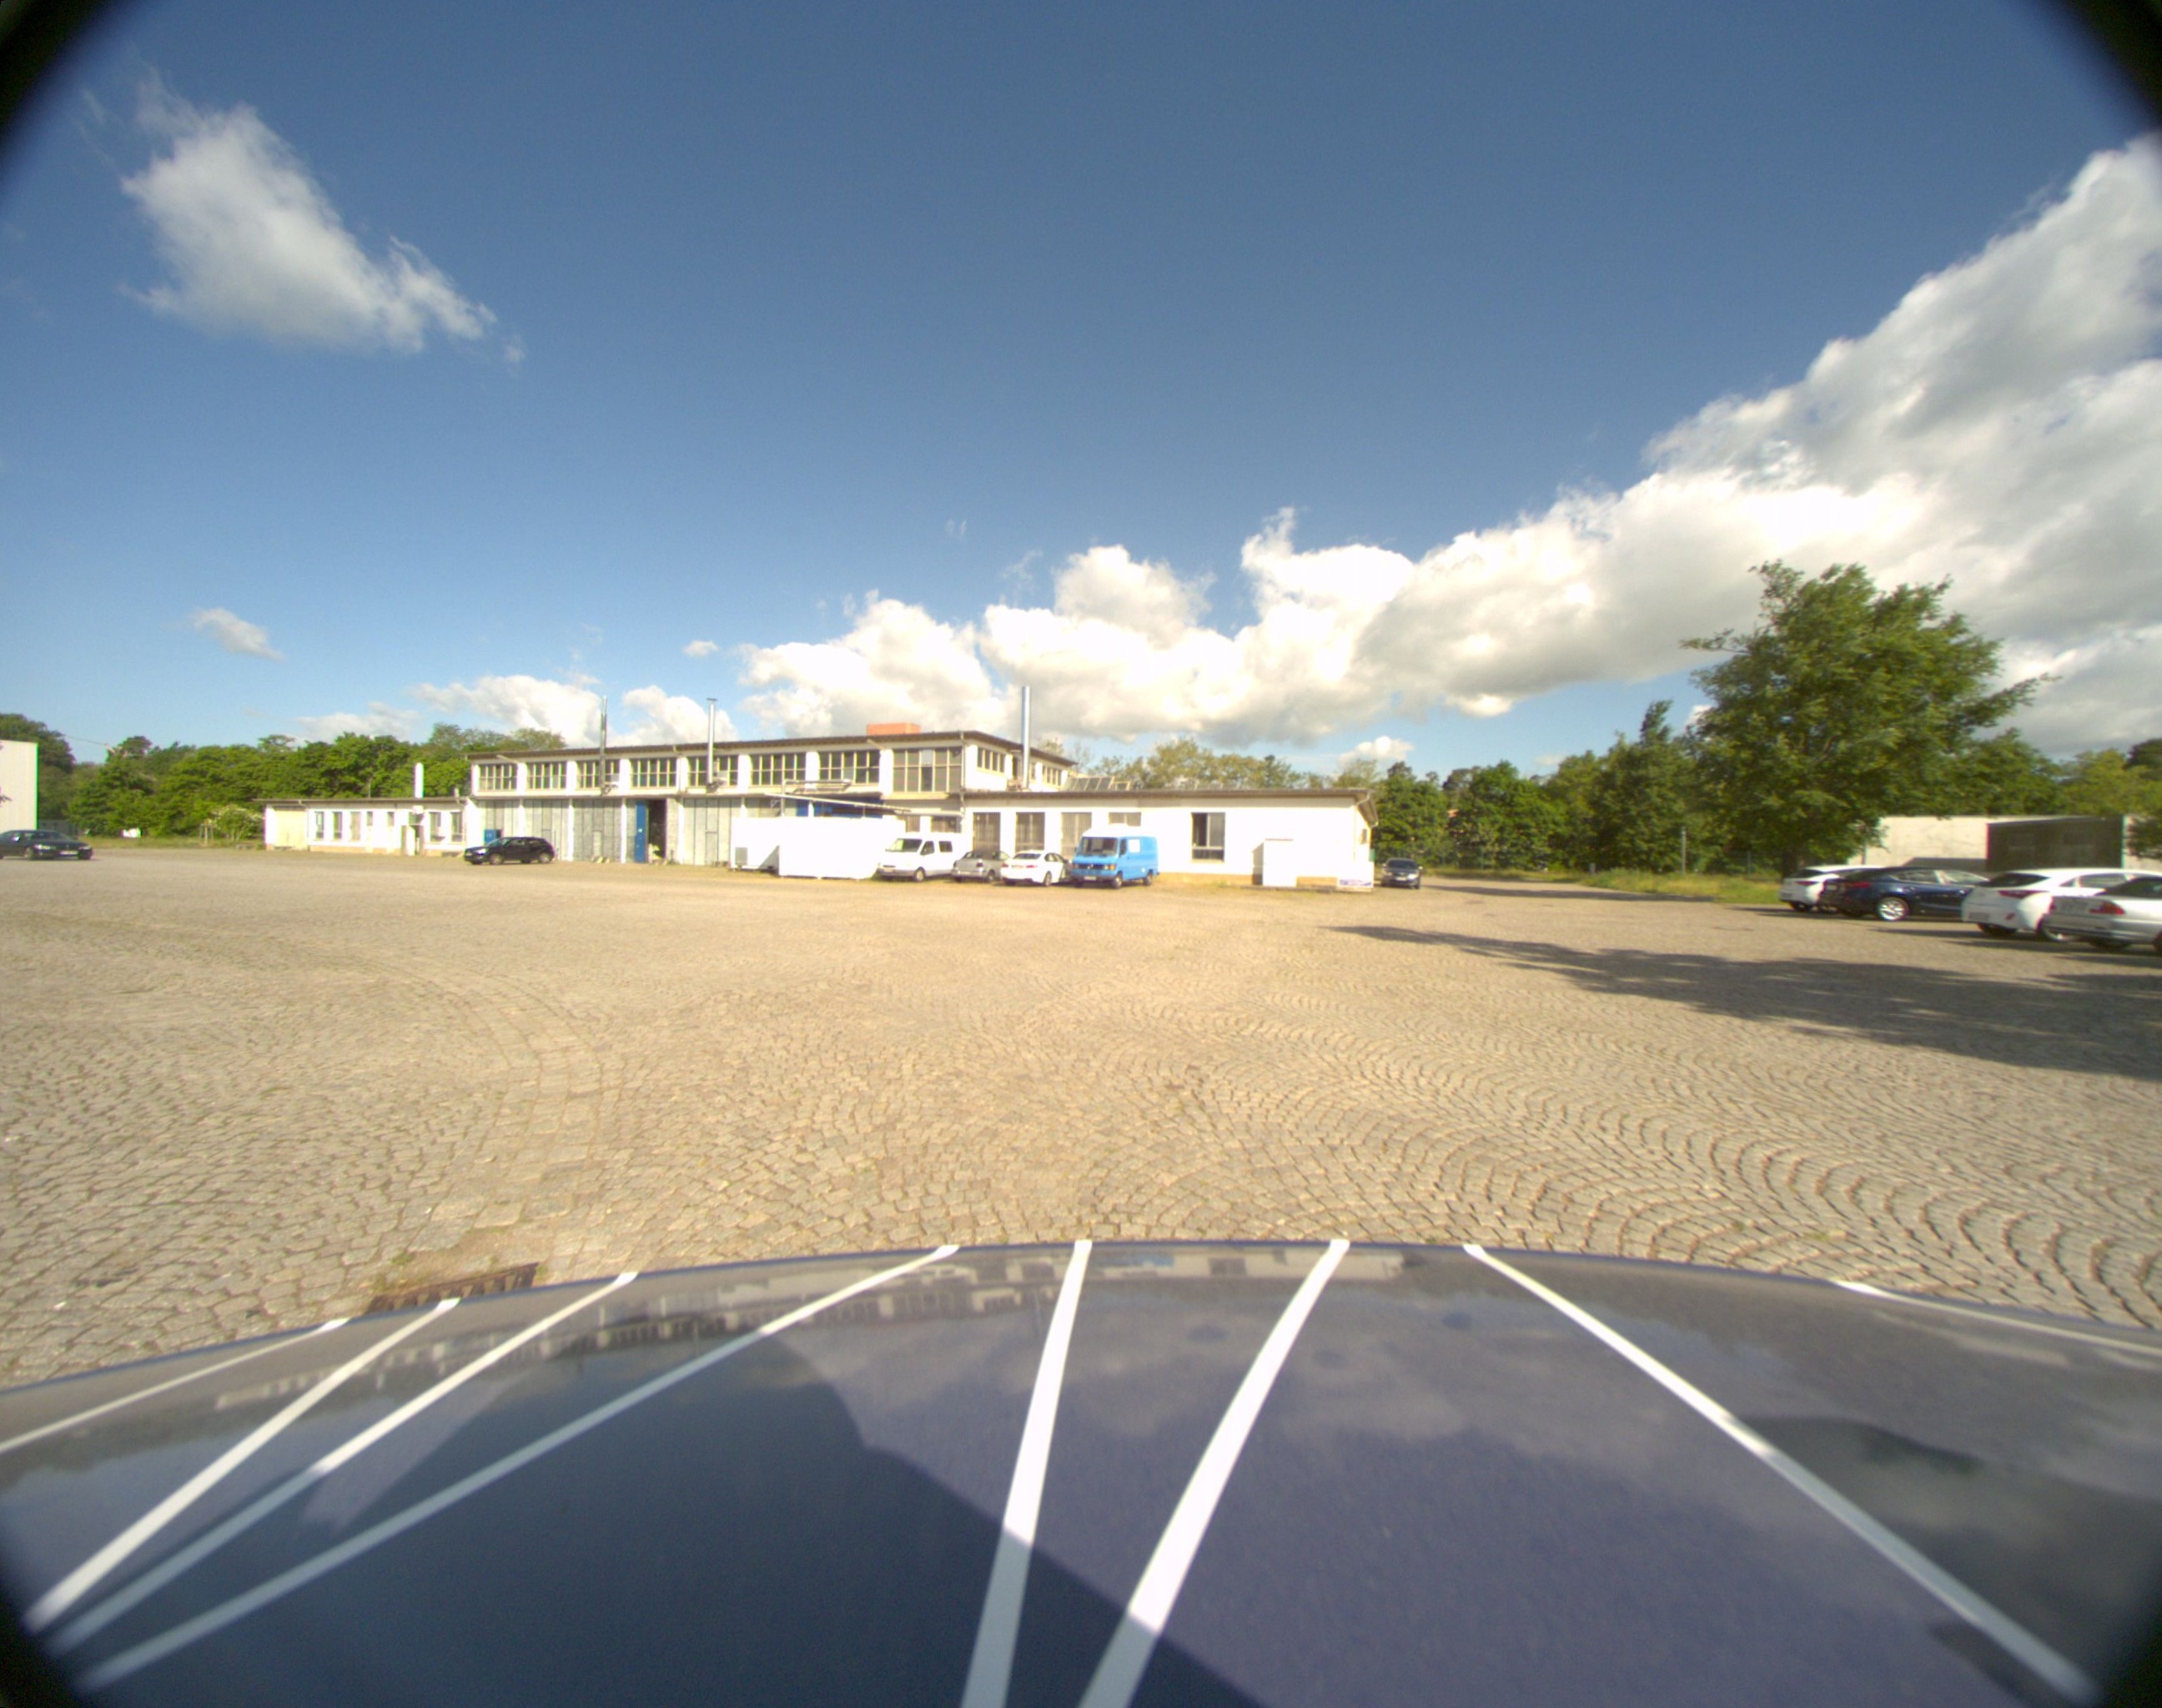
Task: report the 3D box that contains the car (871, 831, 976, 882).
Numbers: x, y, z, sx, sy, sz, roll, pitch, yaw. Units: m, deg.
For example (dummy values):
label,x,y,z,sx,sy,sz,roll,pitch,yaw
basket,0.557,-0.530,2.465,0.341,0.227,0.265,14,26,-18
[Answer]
label,x,y,z,sx,sy,sz,roll,pitch,yaw
car,-6.792,0.061,33.311,2.004,2.069,4.813,1,1,25

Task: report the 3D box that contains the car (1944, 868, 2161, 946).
label,x,y,z,sx,sy,sz,roll,pitch,yaw
car,20.473,1.015,15.167,3.915,1.438,1.758,0,0,23

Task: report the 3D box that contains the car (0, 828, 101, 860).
label,x,y,z,sx,sy,sz,roll,pitch,yaw
car,-48.059,-0.462,35.423,4.066,1.421,1.743,1,1,20

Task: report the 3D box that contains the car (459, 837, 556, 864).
label,x,y,z,sx,sy,sz,roll,pitch,yaw
car,-32.477,-0.205,43.180,1.736,1.461,4.082,1,1,21

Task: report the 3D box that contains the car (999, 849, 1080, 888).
label,x,y,z,sx,sy,sz,roll,pitch,yaw
car,-1.617,0.554,30.833,1.733,1.398,3.744,1,2,25

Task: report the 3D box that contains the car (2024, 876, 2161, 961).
label,x,y,z,sx,sy,sz,roll,pitch,yaw
car,19.368,1.083,12.865,3.915,1.364,1.731,0,0,23

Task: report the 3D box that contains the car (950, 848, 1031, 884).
label,x,y,z,sx,sy,sz,roll,pitch,yaw
car,-3.824,0.483,32.777,1.688,1.390,3.838,2,1,25

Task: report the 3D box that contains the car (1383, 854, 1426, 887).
label,x,y,z,sx,sy,sz,roll,pitch,yaw
car,16.027,0.785,37.628,1.764,1.427,3.999,4,2,23

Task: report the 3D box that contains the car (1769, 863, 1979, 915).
label,x,y,z,sx,sy,sz,roll,pitch,yaw
car,23.293,0.989,22.527,3.915,1.427,1.799,0,0,23

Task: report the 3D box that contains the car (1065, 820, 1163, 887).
label,x,y,z,sx,sy,sz,roll,pitch,yaw
car,1.450,-0.061,30.855,2.084,2.469,5.247,1,2,25

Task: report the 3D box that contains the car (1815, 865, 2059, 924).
label,x,y,z,sx,sy,sz,roll,pitch,yaw
car,22.337,1.016,20.046,3.915,1.409,1.695,0,0,23
